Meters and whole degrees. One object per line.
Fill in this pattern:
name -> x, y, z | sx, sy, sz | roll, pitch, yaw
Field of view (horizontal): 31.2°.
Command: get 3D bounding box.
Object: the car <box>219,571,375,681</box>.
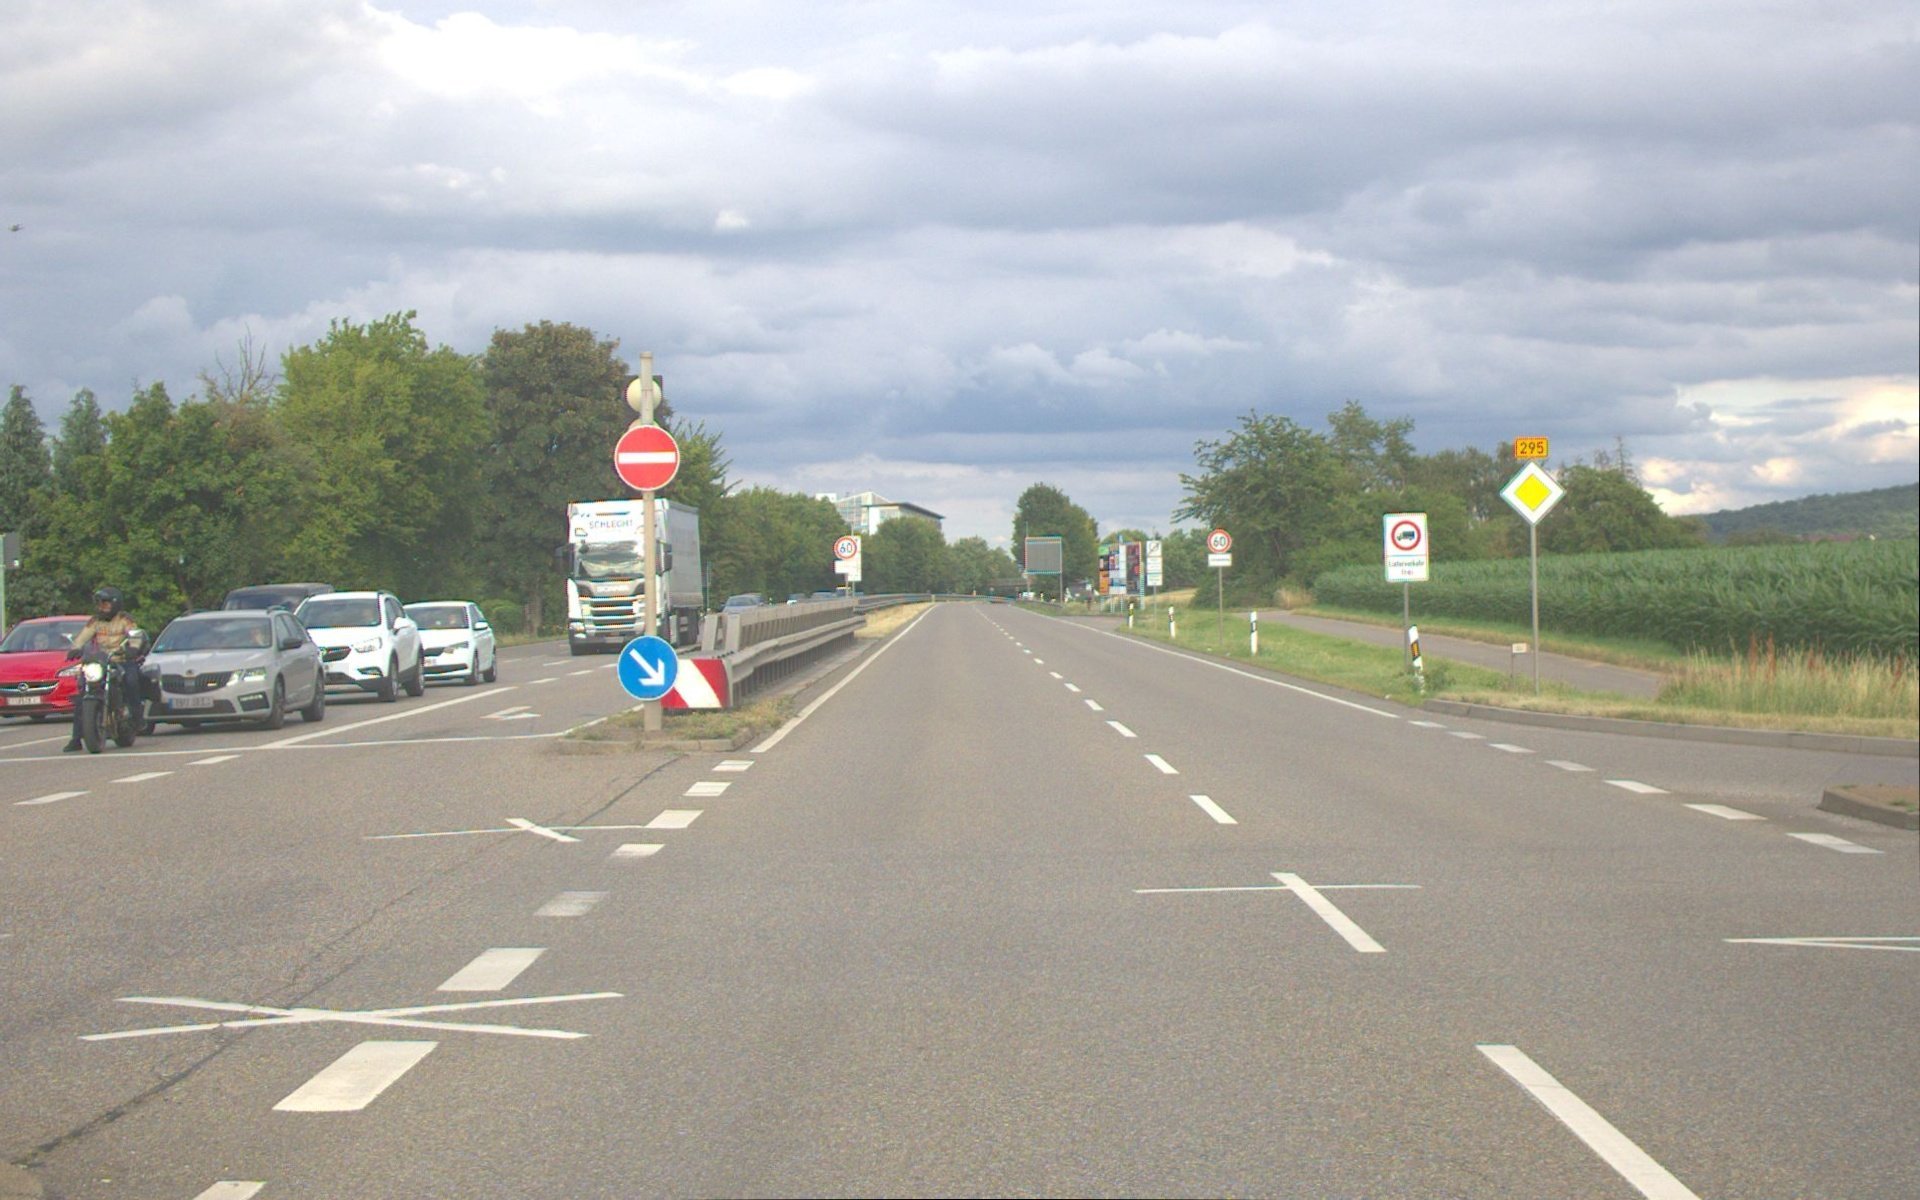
car -> -12.903, 0.497, 67.206 | 1.993, 2.007, 4.947 | -2, 0, 0

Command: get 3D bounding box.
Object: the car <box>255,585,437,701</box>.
car -> -9.124, 0.603, 51.421 | 1.907, 1.604, 4.405 | -1, 0, 0

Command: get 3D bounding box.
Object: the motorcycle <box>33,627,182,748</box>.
motorcycle -> -9.017, 0.910, 36.480 | 0.916, 1.199, 2.478 | -2, 0, 0

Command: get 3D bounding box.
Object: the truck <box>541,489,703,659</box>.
truck -> -8.759, -0.665, 89.898 | 3.474, 4.136, 6.049 | -3, 0, 0

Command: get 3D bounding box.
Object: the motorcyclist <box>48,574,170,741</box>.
motorcyclist -> -9.017, 0.601, 36.479 | 0.916, 1.703, 1.276 | -2, 0, 0

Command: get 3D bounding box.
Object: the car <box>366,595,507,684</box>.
car -> -9.050, 0.660, 59.689 | 1.789, 1.439, 4.160 | -1, 0, 0

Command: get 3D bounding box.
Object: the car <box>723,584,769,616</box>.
car -> -9.640, 0.007, 155.102 | 1.789, 1.381, 4.160 | -1, 0, 0

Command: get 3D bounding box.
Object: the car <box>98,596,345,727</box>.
car -> -8.932, 0.705, 42.032 | 1.907, 1.423, 5.152 | -1, 0, 0

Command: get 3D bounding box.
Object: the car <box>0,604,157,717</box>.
car -> -12.725, 0.823, 48.278 | 1.907, 1.460, 4.184 | -1, 0, 0

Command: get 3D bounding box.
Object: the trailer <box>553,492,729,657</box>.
trailer -> -8.757, -0.694, 96.311 | 3.465, 4.136, 13.916 | -3, 0, 0

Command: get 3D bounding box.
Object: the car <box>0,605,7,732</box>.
car -> -12.586, 0.868, 39.455 | 1.907, 1.530, 4.939 | -1, 0, 0
